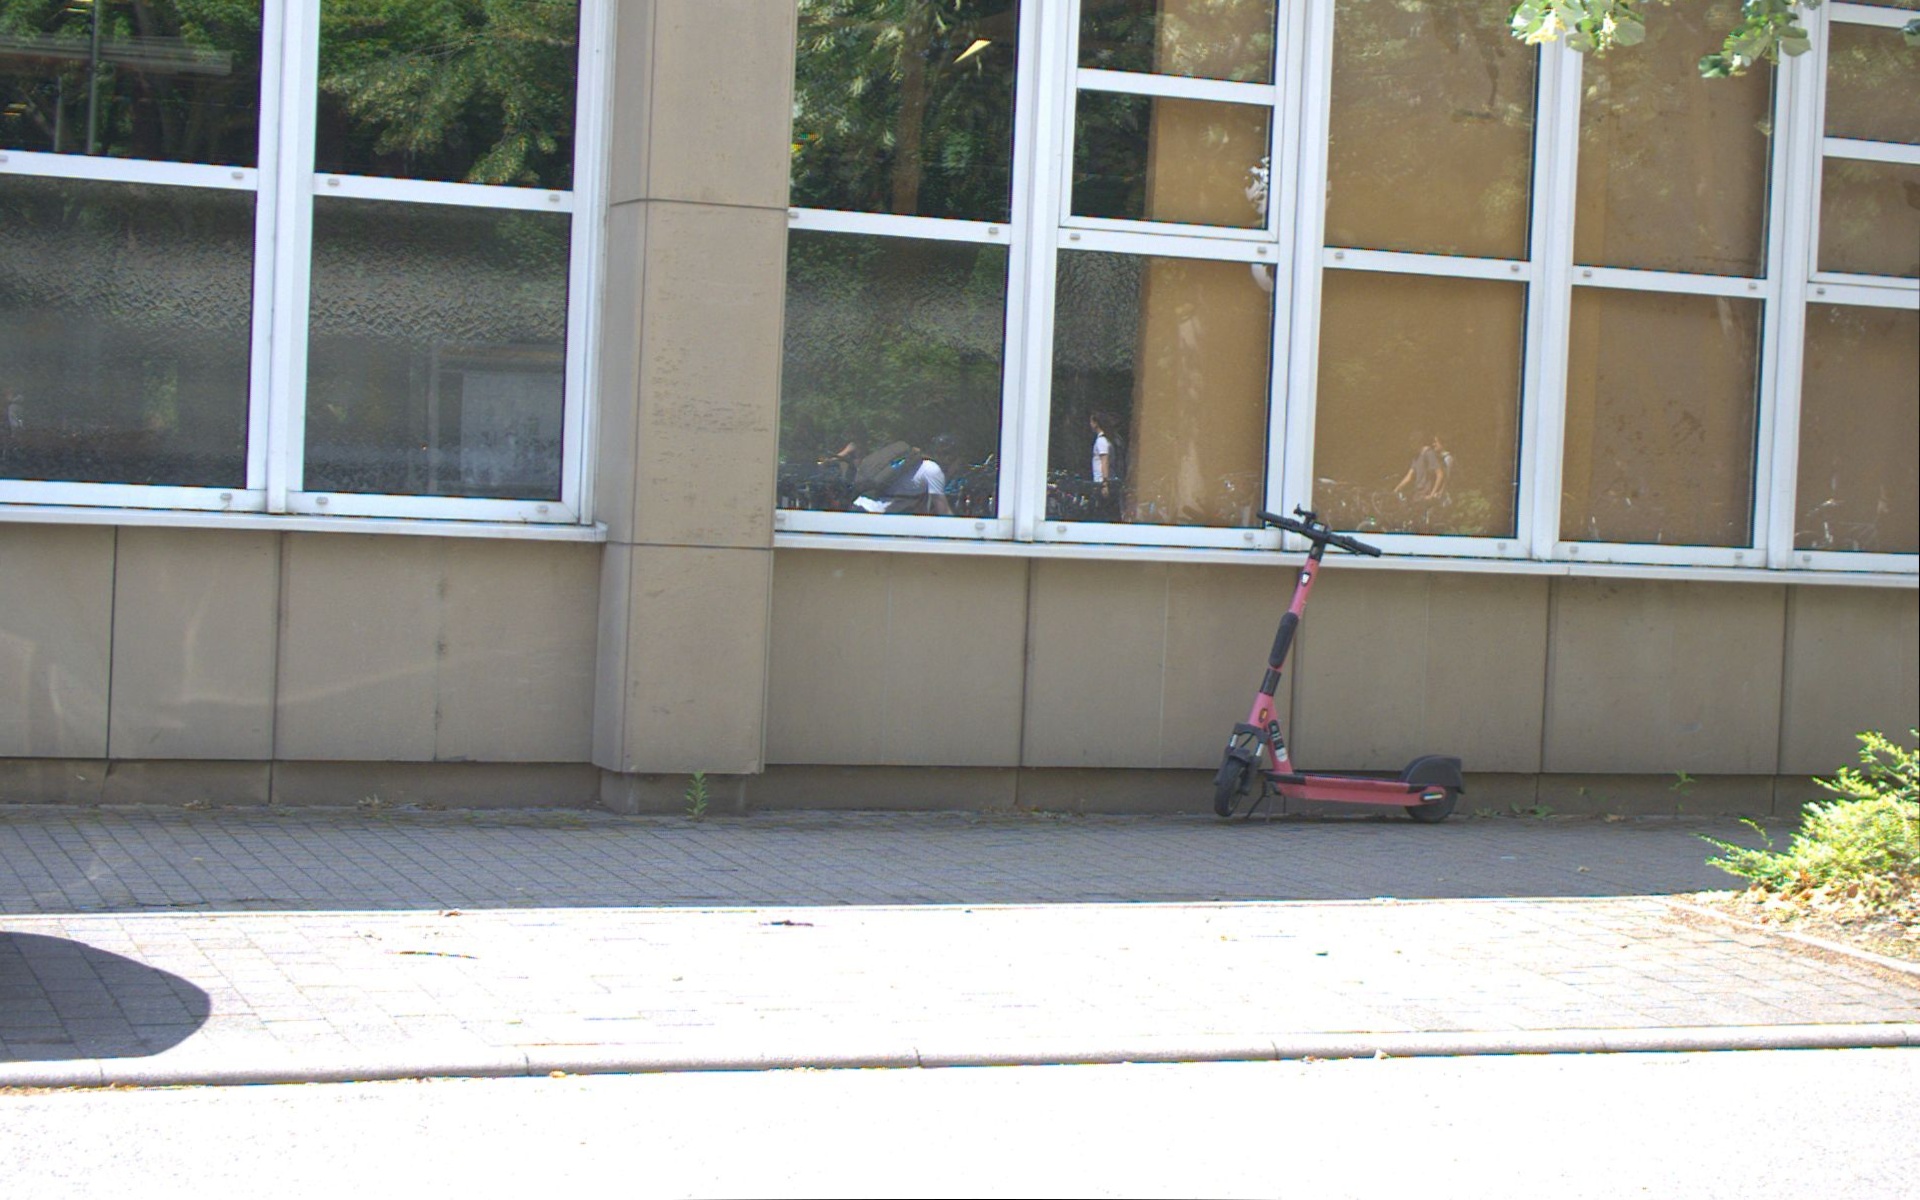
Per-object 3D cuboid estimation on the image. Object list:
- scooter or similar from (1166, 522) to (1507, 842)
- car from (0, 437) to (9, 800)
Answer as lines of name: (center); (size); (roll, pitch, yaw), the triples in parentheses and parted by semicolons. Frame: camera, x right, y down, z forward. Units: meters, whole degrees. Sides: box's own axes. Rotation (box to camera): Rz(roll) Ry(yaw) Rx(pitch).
scooter or similar: (1.486, 0.321, 13.571); (1.241, 1.203, 0.384); (1, 5, -23)
car: (-4.553, 0.235, 8.060); (4.274, 1.430, 1.732); (1, 5, -22)
